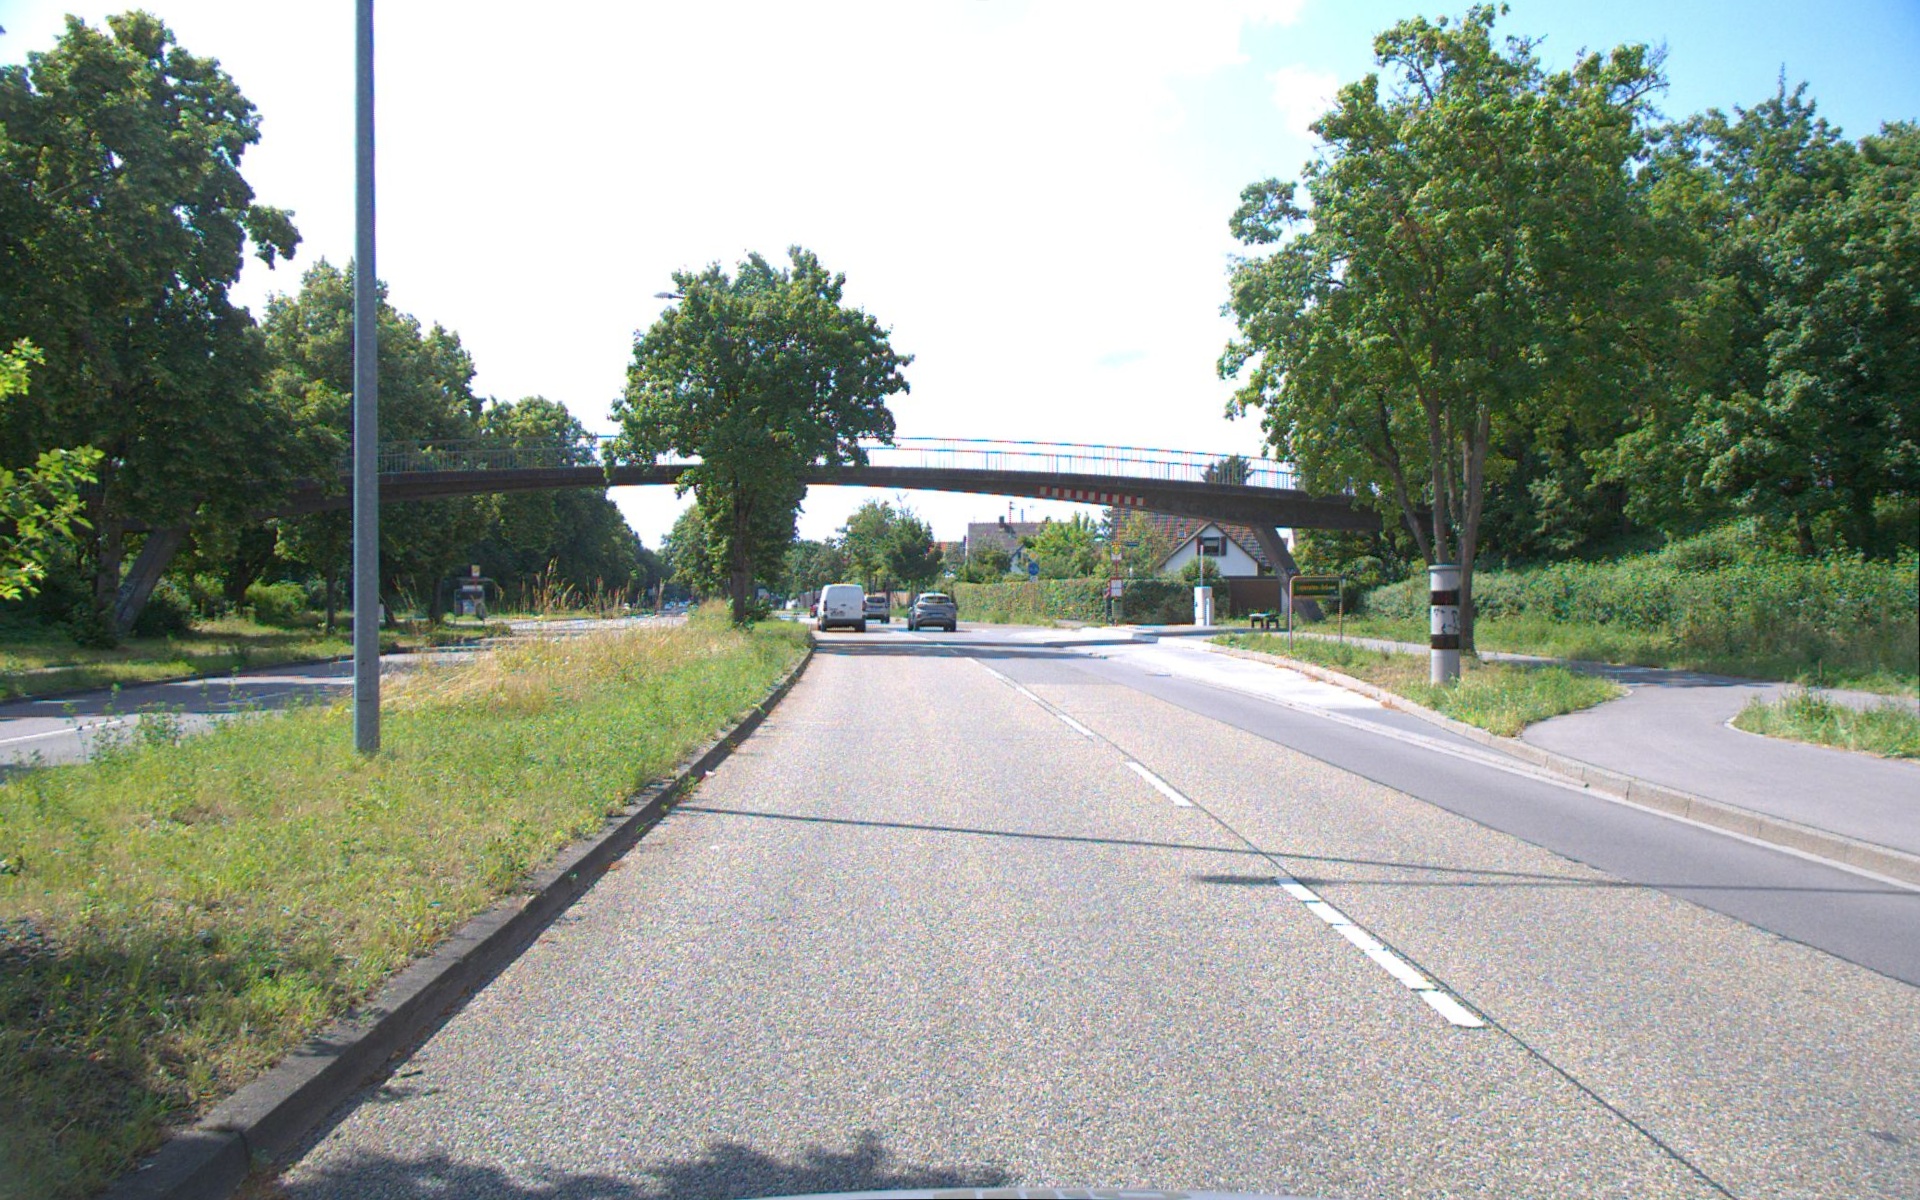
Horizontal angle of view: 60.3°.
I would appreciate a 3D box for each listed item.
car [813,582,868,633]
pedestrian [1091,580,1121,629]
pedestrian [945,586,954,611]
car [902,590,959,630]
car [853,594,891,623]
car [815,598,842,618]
[{"bbox_3d":[-4.787,0.296,65.888,2.026,1.945,4.640,0,0,-6],"label":"car"},{"bbox_3d":[5.792,0.193,65.633,0.936,1.856,1.086,-2,-2,-7],"label":"pedestrian"},{"bbox_3d":[-0.752,-0.104,116.826,0.550,1.706,0.633,0,0,-10],"label":"pedestrian"},{"bbox_3d":[-1.258,0.412,68.786,1.840,1.617,4.176,0,0,-8],"label":"car"},{"bbox_3d":[-5.251,0.522,98.157,1.840,1.681,3.991,0,0,-9],"label":"car"},{"bbox_3d":[-10.808,0.664,135.612,1.846,1.615,3.991,0,0,-9],"label":"car"}]
